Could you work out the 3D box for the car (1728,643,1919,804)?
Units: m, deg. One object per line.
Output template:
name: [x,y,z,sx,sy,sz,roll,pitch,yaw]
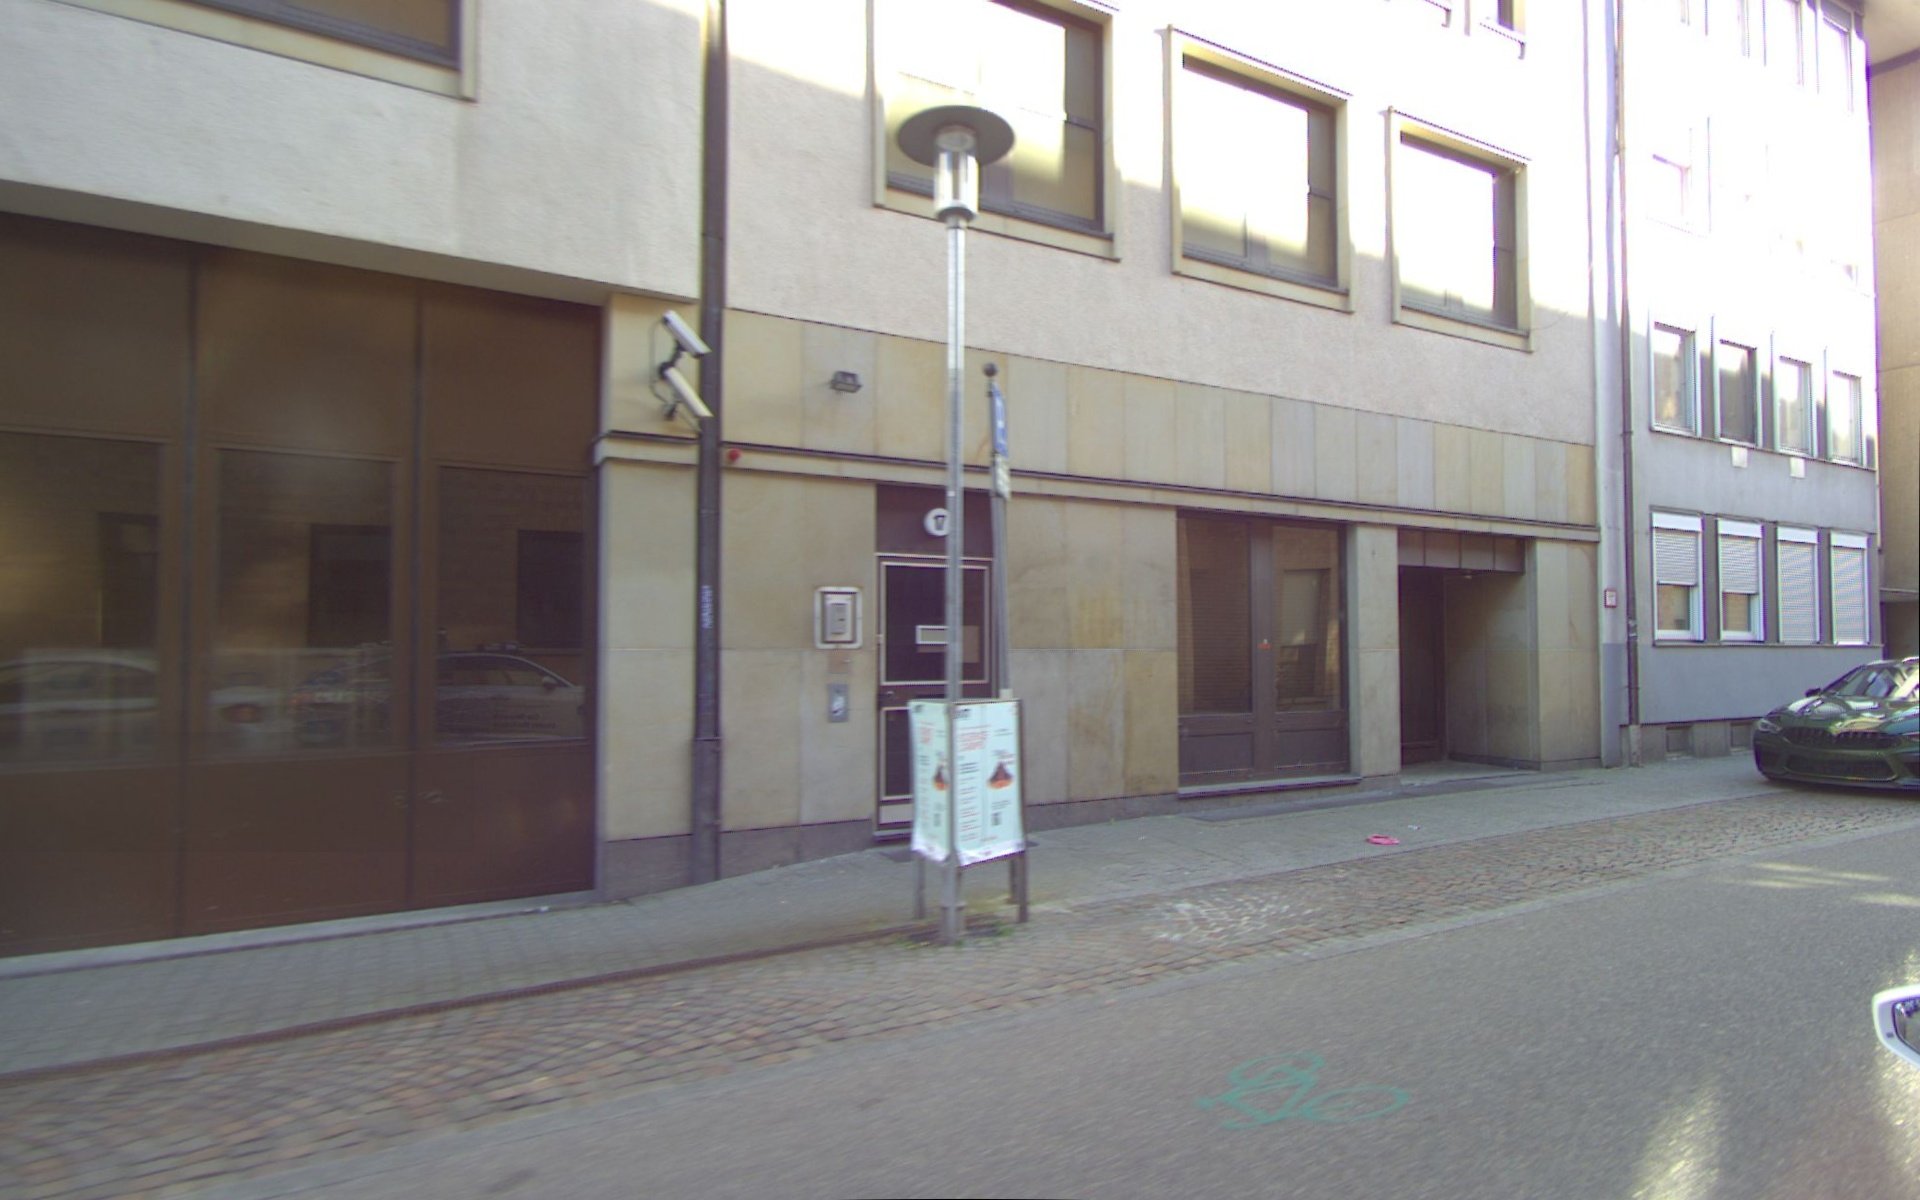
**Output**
car: [10.994,1.274,11.449,4.672,1.550,1.882,1,-3,-30]
